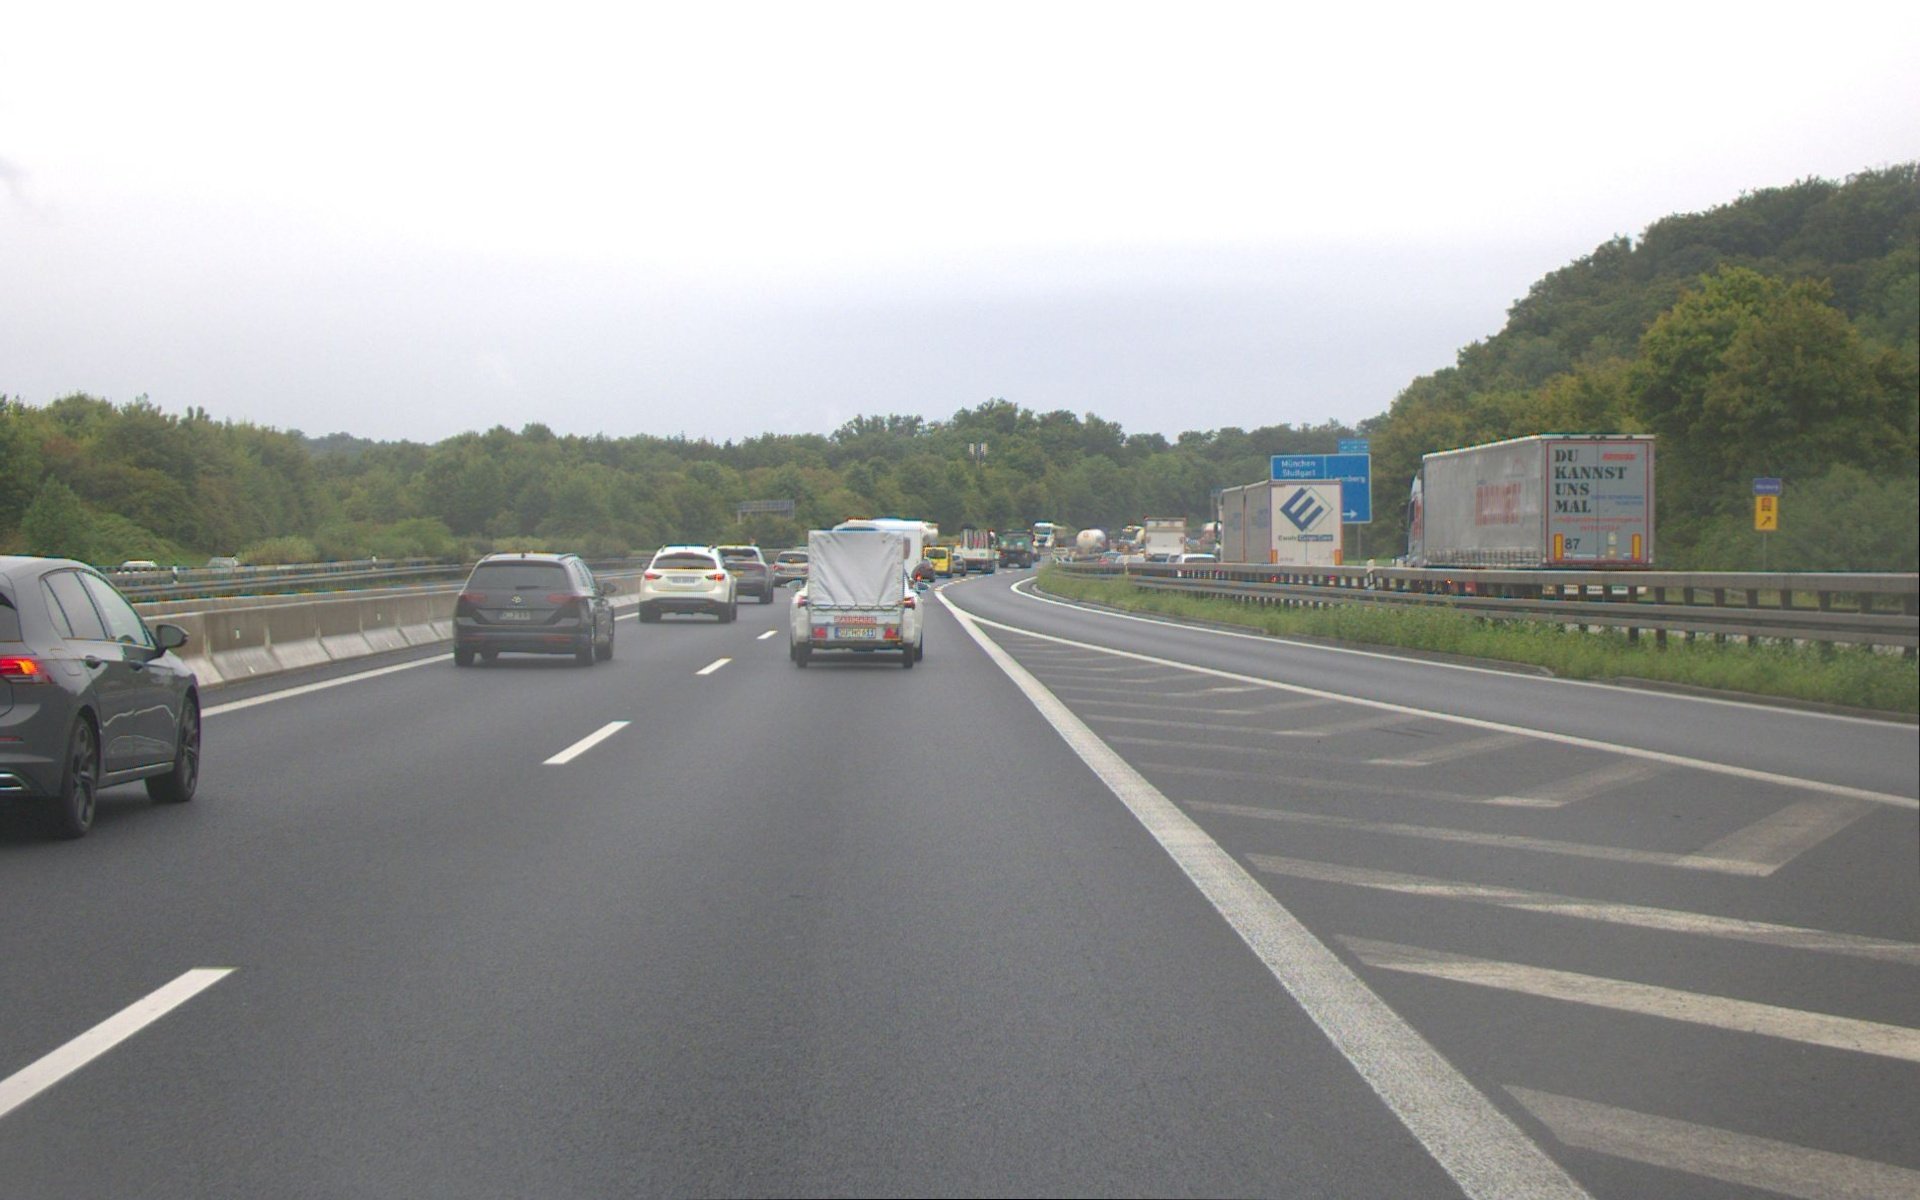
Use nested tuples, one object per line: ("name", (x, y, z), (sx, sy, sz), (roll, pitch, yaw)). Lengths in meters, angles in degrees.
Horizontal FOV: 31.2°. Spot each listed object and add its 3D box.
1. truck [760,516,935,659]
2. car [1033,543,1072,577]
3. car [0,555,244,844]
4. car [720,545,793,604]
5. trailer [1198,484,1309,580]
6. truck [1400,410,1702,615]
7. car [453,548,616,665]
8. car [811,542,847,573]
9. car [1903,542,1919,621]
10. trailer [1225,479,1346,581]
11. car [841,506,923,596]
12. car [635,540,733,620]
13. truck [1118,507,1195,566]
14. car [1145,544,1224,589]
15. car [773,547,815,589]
("truck", (-1.538, -0.169, 47.286), (2.242, 1.833, 6.585), (0, 0, -2))
("car", (4.391, -1.901, 163.686), (1.645, 1.568, 4.000), (1, 1, -1))
("car", (-5.362, 0.463, 19.243), (1.830, 1.420, 4.368), (1, 1, -1))
("car", (-6.041, -0.770, 102.504), (1.975, 1.697, 4.802), (1, 1, -1))
("trailer", (11.221, -2.594, 132.206), (2.937, 3.515, 8.421), (1, 1, -4))
("truck", (14.150, -2.019, 84.455), (3.820, 4.525, 16.887), (0, 1, -2))
("car", (-5.606, 0.043, 45.780), (1.787, 1.454, 4.803), (1, 1, -3))
("car", (-6.976, -2.272, 182.915), (1.819, 1.656, 4.017), (0, 1, -1))
("car", (19.139, -0.327, 63.331), (1.819, 1.498, 5.032), (0, 1, -4))
("trailer", (11.677, -2.488, 123.958), (3.078, 3.515, 8.086), (1, 1, -3))
("car", (-2.469, -1.534, 106.997), (2.331, 2.716, 6.541), (0, 1, -3))
("car", (-5.957, -0.454, 74.489), (2.048, 1.665, 4.542), (1, 1, -4))
("truck", (12.683, -4.097, 222.779), (3.824, 3.646, 8.273), (1, 1, -5))
("car", (8.354, -1.253, 128.295), (1.993, 1.611, 5.080), (0, 1, -7))
("car", (-7.351, -1.435, 152.836), (1.738, 1.787, 4.000), (1, 1, -1))
